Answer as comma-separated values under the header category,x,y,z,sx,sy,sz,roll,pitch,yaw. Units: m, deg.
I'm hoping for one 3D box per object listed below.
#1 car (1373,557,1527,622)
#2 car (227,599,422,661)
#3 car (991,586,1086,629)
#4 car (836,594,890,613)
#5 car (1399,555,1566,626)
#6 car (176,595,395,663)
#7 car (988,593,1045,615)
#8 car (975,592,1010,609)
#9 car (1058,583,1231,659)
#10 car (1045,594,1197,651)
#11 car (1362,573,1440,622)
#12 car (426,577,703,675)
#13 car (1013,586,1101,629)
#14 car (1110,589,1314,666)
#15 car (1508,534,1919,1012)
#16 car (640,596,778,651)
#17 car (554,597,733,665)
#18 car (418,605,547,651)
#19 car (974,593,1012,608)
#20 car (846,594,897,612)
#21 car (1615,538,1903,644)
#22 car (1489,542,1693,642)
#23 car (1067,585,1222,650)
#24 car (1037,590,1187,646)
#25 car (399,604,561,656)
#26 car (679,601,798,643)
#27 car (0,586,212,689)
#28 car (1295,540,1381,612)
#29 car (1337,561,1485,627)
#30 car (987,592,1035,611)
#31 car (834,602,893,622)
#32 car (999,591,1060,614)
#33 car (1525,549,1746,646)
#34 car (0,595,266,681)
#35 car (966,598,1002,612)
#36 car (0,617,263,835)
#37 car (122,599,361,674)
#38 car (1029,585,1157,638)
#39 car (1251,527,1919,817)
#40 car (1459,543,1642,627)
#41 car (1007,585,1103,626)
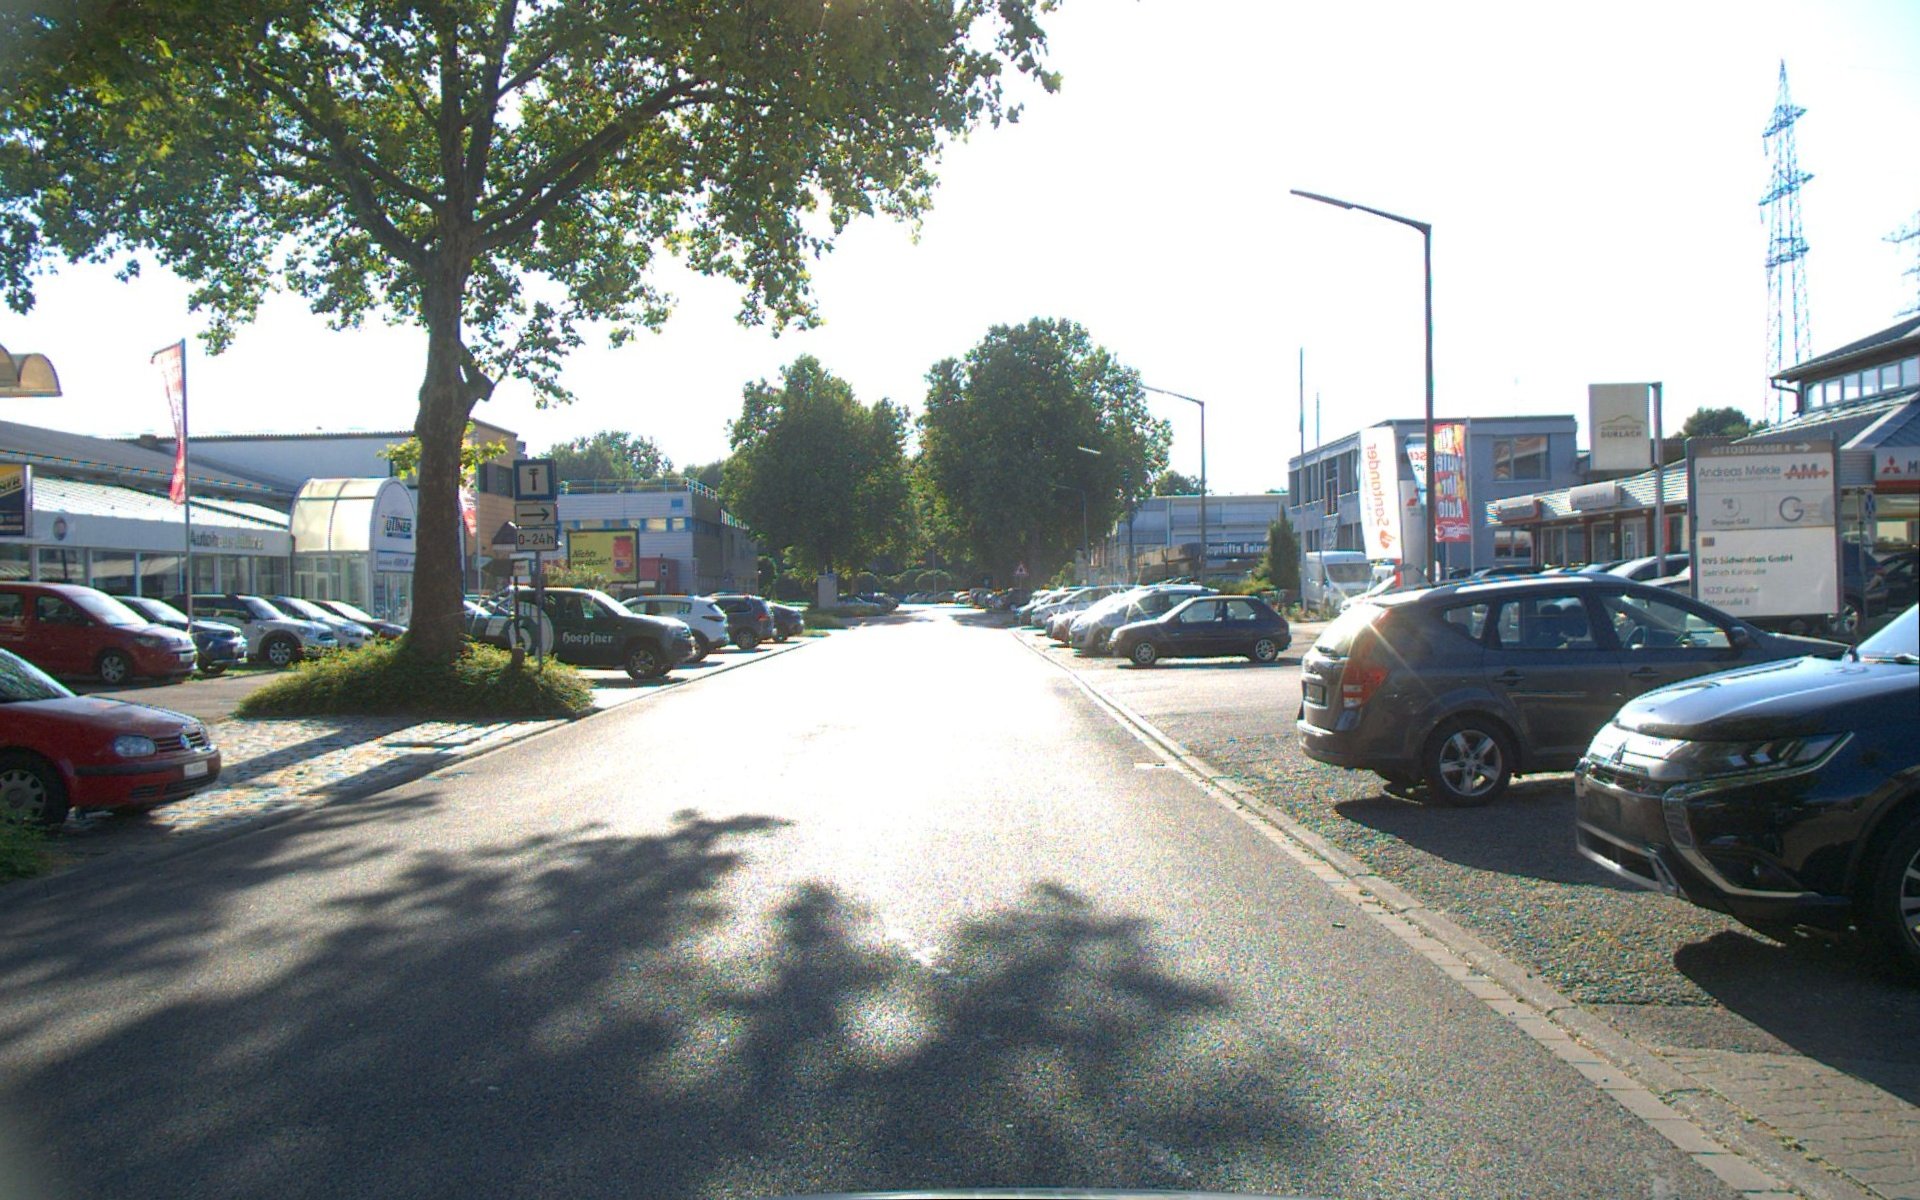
category,x,y,z,sx,sy,sz,roll,pitch,yaw
car,14.550,-0.312,49.270,3.906,1.688,2.000,-3,0,0
car,-16.553,0.777,43.238,4.373,1.580,1.836,0,0,-2
car,3.447,0.322,72.234,3.902,1.641,2.001,-3,-1,7
car,-7.940,0.262,135.686,4.324,1.543,2.000,0,0,1
car,14.416,-0.254,45.783,3.906,1.726,2.000,-3,0,0
car,-16.515,0.696,40.672,4.567,1.620,1.928,0,0,-2
car,4.010,0.261,117.902,3.906,1.440,1.827,-2,0,-1
car,3.691,0.058,188.804,3.906,1.808,1.827,-2,0,-1
car,4.518,0.505,40.877,3.909,1.615,1.866,-3,0,-4
car,4.683,0.655,48.426,4.161,1.633,1.743,0,0,-7
car,17.107,-0.091,64.394,1.953,1.830,4.000,0,0,0
car,-8.010,0.527,33.908,5.152,1.932,2.201,0,-1,-1
car,4.538,0.347,77.862,3.908,1.681,1.741,-4,0,-3
car,5.079,0.546,33.770,3.904,1.319,1.784,-3,0,2
car,4.851,0.464,6.732,4.506,1.607,2.000,-5,0,2
car,-7.976,0.739,52.849,4.146,1.684,2.200,0,0,-3
car,-8.020,0.769,42.247,4.217,1.685,2.200,0,0,-3
car,-16.683,0.959,57.908,3.905,1.583,2.000,0,0,0
car,3.442,0.078,173.375,3.906,1.440,1.827,-2,0,-1
car,-7.831,0.274,146.421,4.324,1.543,2.000,0,0,1
car,15.031,-0.161,31.307,4.404,1.932,2.201,0,-1,-1
car,14.467,-0.195,38.100,3.723,1.931,2.202,-5,1,-1
car,5.084,0.479,45.905,4.028,1.770,1.882,0,0,-4
car,4.651,0.532,50.990,4.347,1.461,2.135,-3,0,-1
car,-16.046,0.982,55.464,4.844,1.718,1.999,0,0,-3
car,-8.188,0.808,61.477,4.227,1.485,2.200,0,0,-3
car,-16.594,0.673,30.531,4.650,1.851,1.999,0,0,-2
car,14.701,-0.877,64.686,1.953,2.671,6.136,0,0,0
car,14.215,-0.186,52.296,4.060,1.802,2.000,-3,0,0
car,4.252,0.155,138.784,3.906,1.440,1.827,-2,0,-1
car,-7.150,0.886,122.889,4.330,1.427,1.998,0,0,-6
car,4.631,0.166,110.564,3.906,1.440,2.000,-2,0,-1
car,14.480,-0.091,35.629,3.853,1.931,2.202,-1,3,-1
car,-16.742,0.746,33.371,4.618,1.662,1.999,0,0,-2
car,2.692,0.601,186.343,3.906,1.440,1.827,-2,0,-1
car,-7.699,0.865,12.247,4.208,1.472,2.000,0,0,-1
car,-16.513,0.813,38.175,4.623,1.671,1.999,0,0,-2
car,4.983,0.441,62.435,4.465,1.625,2.200,-4,0,-3
car,4.645,0.483,12.282,4.508,1.641,2.000,-5,0,-1
car,14.495,-0.348,40.724,3.823,1.932,1.786,-1,-2,-1
car,4.620,0.284,80.994,4.435,1.702,1.752,-4,0,-4
